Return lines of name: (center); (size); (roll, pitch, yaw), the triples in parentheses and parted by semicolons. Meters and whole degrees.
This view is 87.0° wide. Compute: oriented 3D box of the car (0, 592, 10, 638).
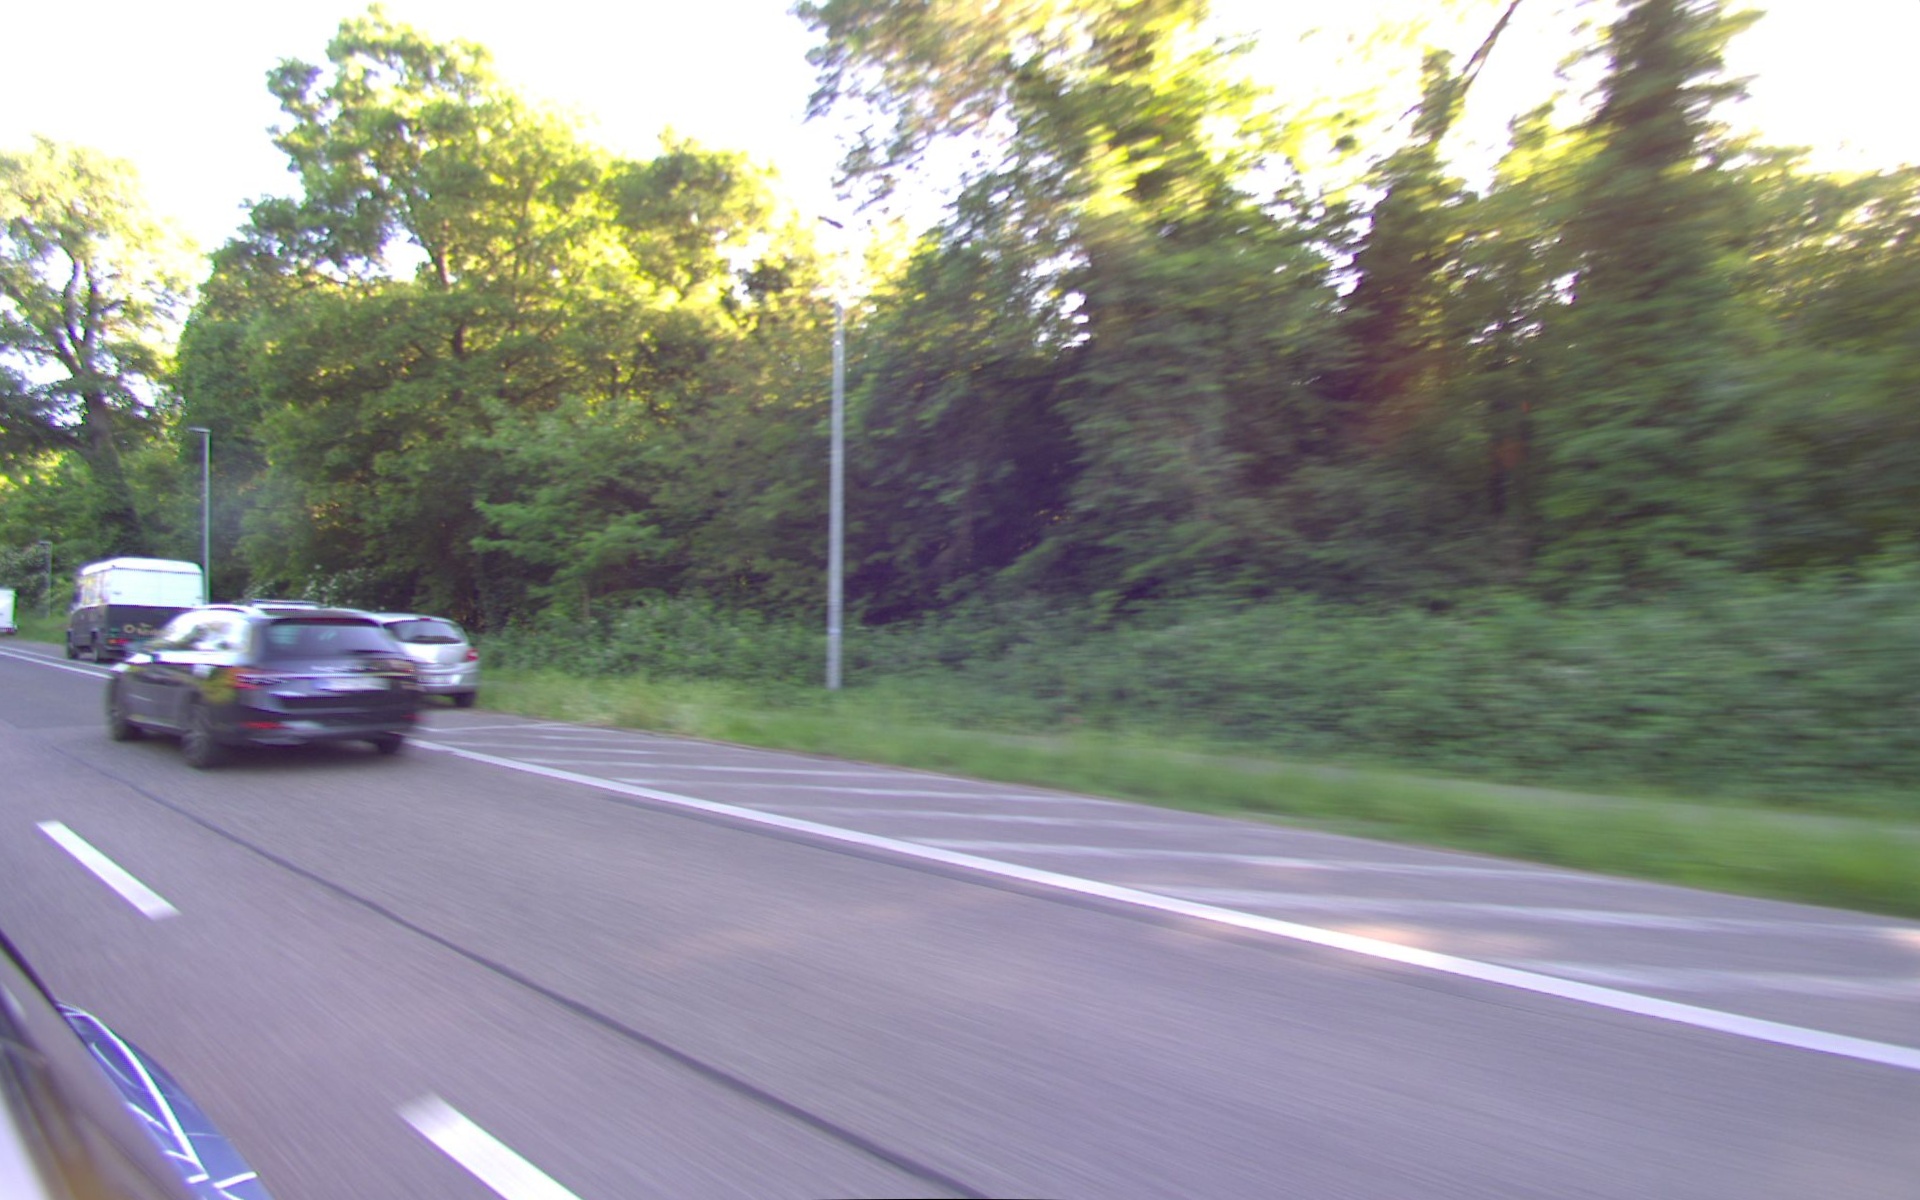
car: (-46.994, 0.684, 48.328); (4.627, 2.117, 1.670); (0, -2, 39)

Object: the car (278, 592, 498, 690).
car: (-9.787, 0.648, 17.222); (4.008, 1.475, 1.891); (0, -2, 39)

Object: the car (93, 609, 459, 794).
car: (-7.115, 0.873, 10.365); (4.353, 1.475, 1.891); (0, -2, 39)

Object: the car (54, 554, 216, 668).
car: (-22.752, 0.317, 27.847); (4.794, 2.869, 2.430); (0, -2, 39)

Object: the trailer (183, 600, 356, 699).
trailer: (-13.579, 0.915, 19.850); (3.644, 1.742, 1.784); (0, -2, 39)
